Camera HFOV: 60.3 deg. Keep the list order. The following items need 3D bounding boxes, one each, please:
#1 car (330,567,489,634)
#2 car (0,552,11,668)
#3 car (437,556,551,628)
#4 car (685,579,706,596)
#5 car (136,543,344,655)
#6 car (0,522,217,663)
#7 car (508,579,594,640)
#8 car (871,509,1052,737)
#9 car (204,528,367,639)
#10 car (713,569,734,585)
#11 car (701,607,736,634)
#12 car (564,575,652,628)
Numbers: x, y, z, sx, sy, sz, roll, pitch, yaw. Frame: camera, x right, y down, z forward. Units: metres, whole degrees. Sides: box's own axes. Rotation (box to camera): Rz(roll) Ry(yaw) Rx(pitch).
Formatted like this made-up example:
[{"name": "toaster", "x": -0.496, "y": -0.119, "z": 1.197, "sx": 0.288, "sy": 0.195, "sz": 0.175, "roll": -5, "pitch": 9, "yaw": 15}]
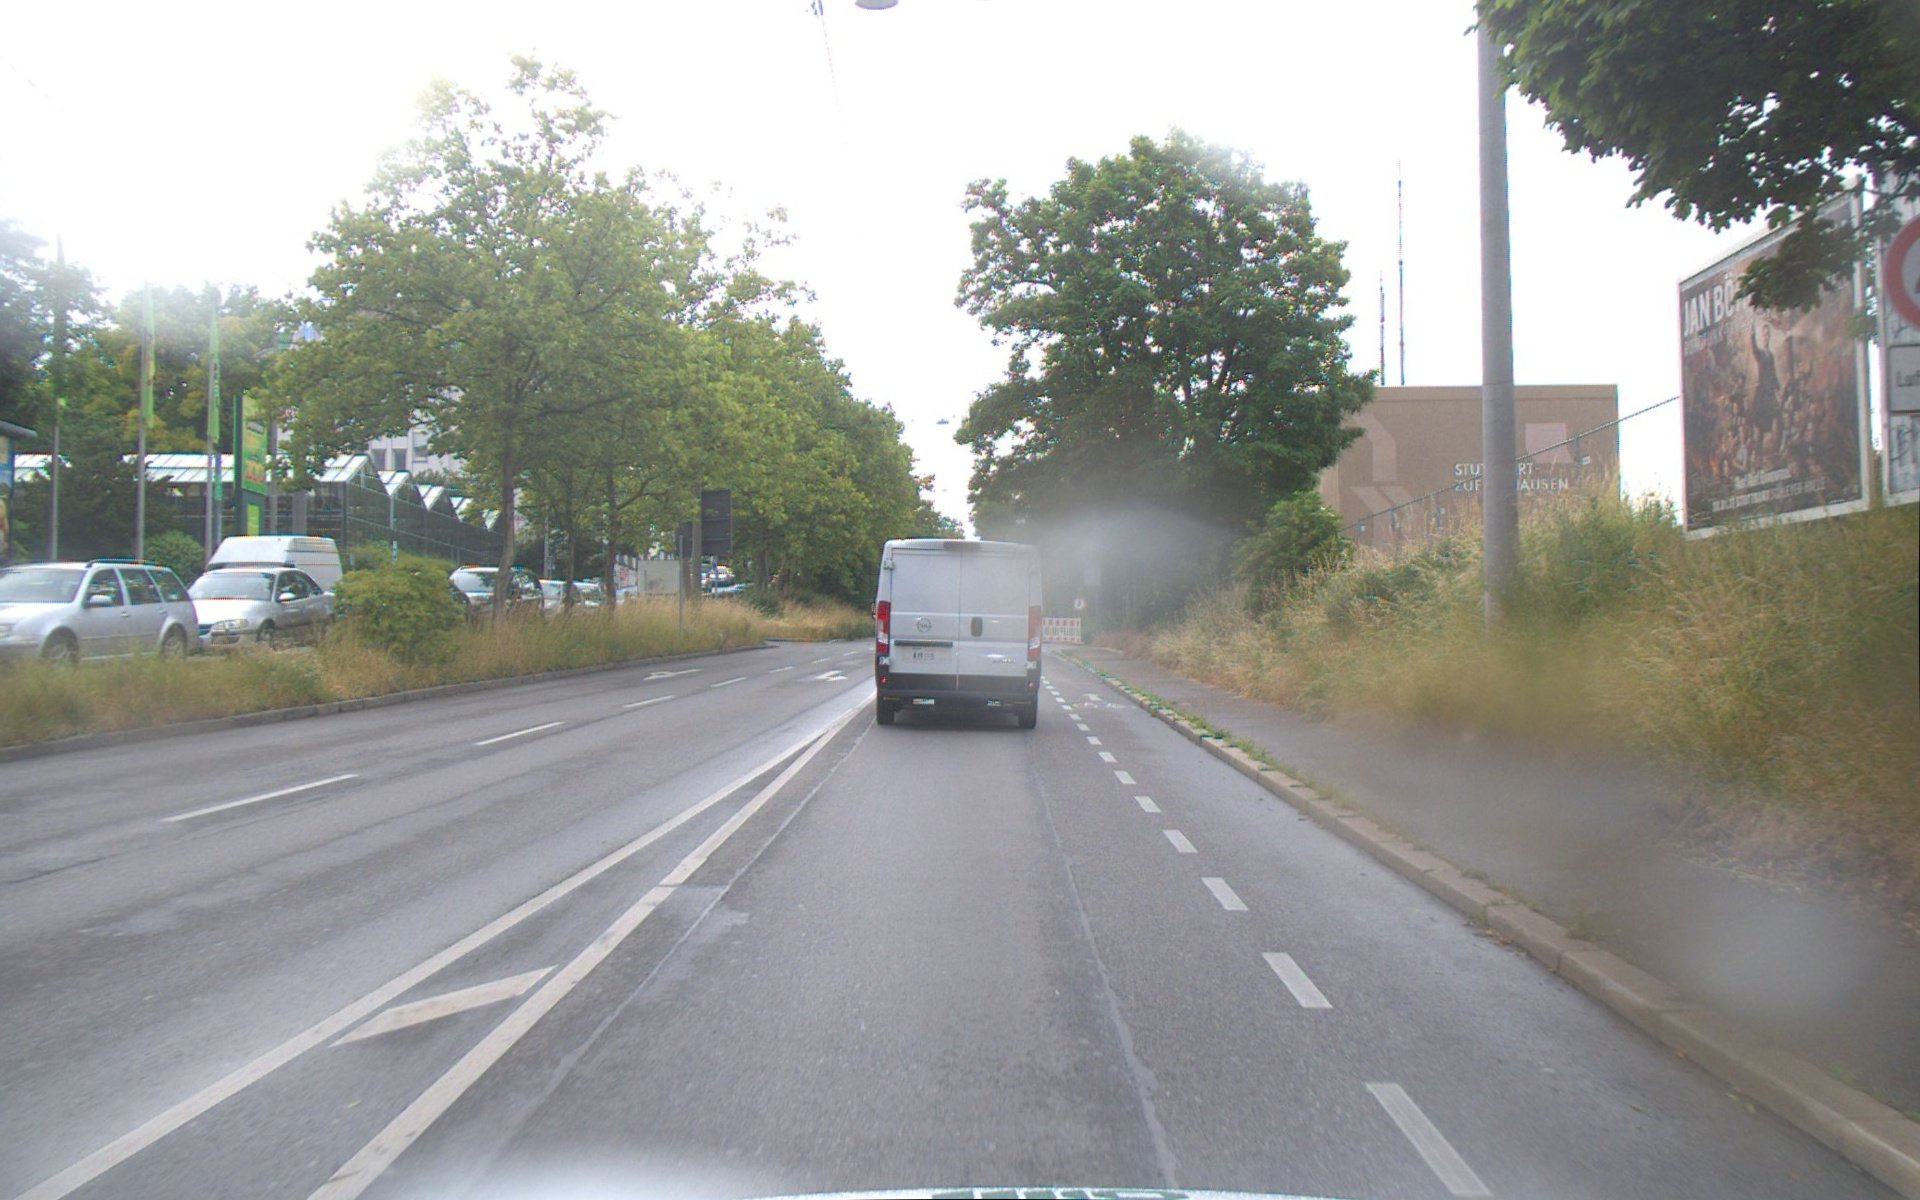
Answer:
[{"name": "car", "x": -10.684, "y": 0.009, "z": 32.395, "sx": 1.662, "sy": 1.226, "sz": 4.219, "roll": 0, "pitch": 0, "yaw": 1}, {"name": "car", "x": -15.032, "y": 0.169, "z": 22.978, "sx": 1.559, "sy": 1.725, "sz": 3.780, "roll": -1, "pitch": 1, "yaw": -1}, {"name": "car", "x": -10.573, "y": -0.144, "z": 37.753, "sx": 1.620, "sy": 1.478, "sz": 3.644, "roll": 0, "pitch": -2, "yaw": -1}, {"name": "car", "x": -19.827, "y": -0.920, "z": 123.995, "sx": 1.188, "sy": 1.153, "sz": 2.452, "roll": 0, "pitch": -2, "yaw": 0}, {"name": "car", "x": -10.954, "y": -0.038, "z": 25.458, "sx": 1.560, "sy": 1.567, "sz": 3.990, "roll": -1, "pitch": 1, "yaw": -2}, {"name": "car", "x": -10.719, "y": -0.099, "z": 19.793, "sx": 1.613, "sy": 1.504, "sz": 4.444, "roll": -1, "pitch": 1, "yaw": 0}, {"name": "car", "x": -10.490, "y": 0.272, "z": 42.629, "sx": 1.332, "sy": 1.419, "sz": 3.706, "roll": 0, "pitch": -2, "yaw": -1}, {"name": "car", "x": -0.042, "y": 0.240, "z": 21.851, "sx": 2.009, "sy": 2.560, "sz": 4.942, "roll": 3, "pitch": 1, "yaw": -2}, {"name": "car", "x": -16.246, "y": -0.416, "z": 40.183, "sx": 1.924, "sy": 2.486, "sz": 5.652, "roll": -1, "pitch": 1, "yaw": -4}, {"name": "car", "x": -20.066, "y": -1.944, "z": 140.408, "sx": 1.567, "sy": 1.272, "sz": 2.908, "roll": 0, "pitch": -2, "yaw": -3}, {"name": "car", "x": -11.147, "y": 0.951, "z": 76.418, "sx": 1.323, "sy": 1.151, "sz": 2.751, "roll": 0, "pitch": -2, "yaw": -2}, {"name": "car", "x": -10.142, "y": 0.080, "z": 47.907, "sx": 1.506, "sy": 1.316, "sz": 4.544, "roll": 0, "pitch": -2, "yaw": 1}]
